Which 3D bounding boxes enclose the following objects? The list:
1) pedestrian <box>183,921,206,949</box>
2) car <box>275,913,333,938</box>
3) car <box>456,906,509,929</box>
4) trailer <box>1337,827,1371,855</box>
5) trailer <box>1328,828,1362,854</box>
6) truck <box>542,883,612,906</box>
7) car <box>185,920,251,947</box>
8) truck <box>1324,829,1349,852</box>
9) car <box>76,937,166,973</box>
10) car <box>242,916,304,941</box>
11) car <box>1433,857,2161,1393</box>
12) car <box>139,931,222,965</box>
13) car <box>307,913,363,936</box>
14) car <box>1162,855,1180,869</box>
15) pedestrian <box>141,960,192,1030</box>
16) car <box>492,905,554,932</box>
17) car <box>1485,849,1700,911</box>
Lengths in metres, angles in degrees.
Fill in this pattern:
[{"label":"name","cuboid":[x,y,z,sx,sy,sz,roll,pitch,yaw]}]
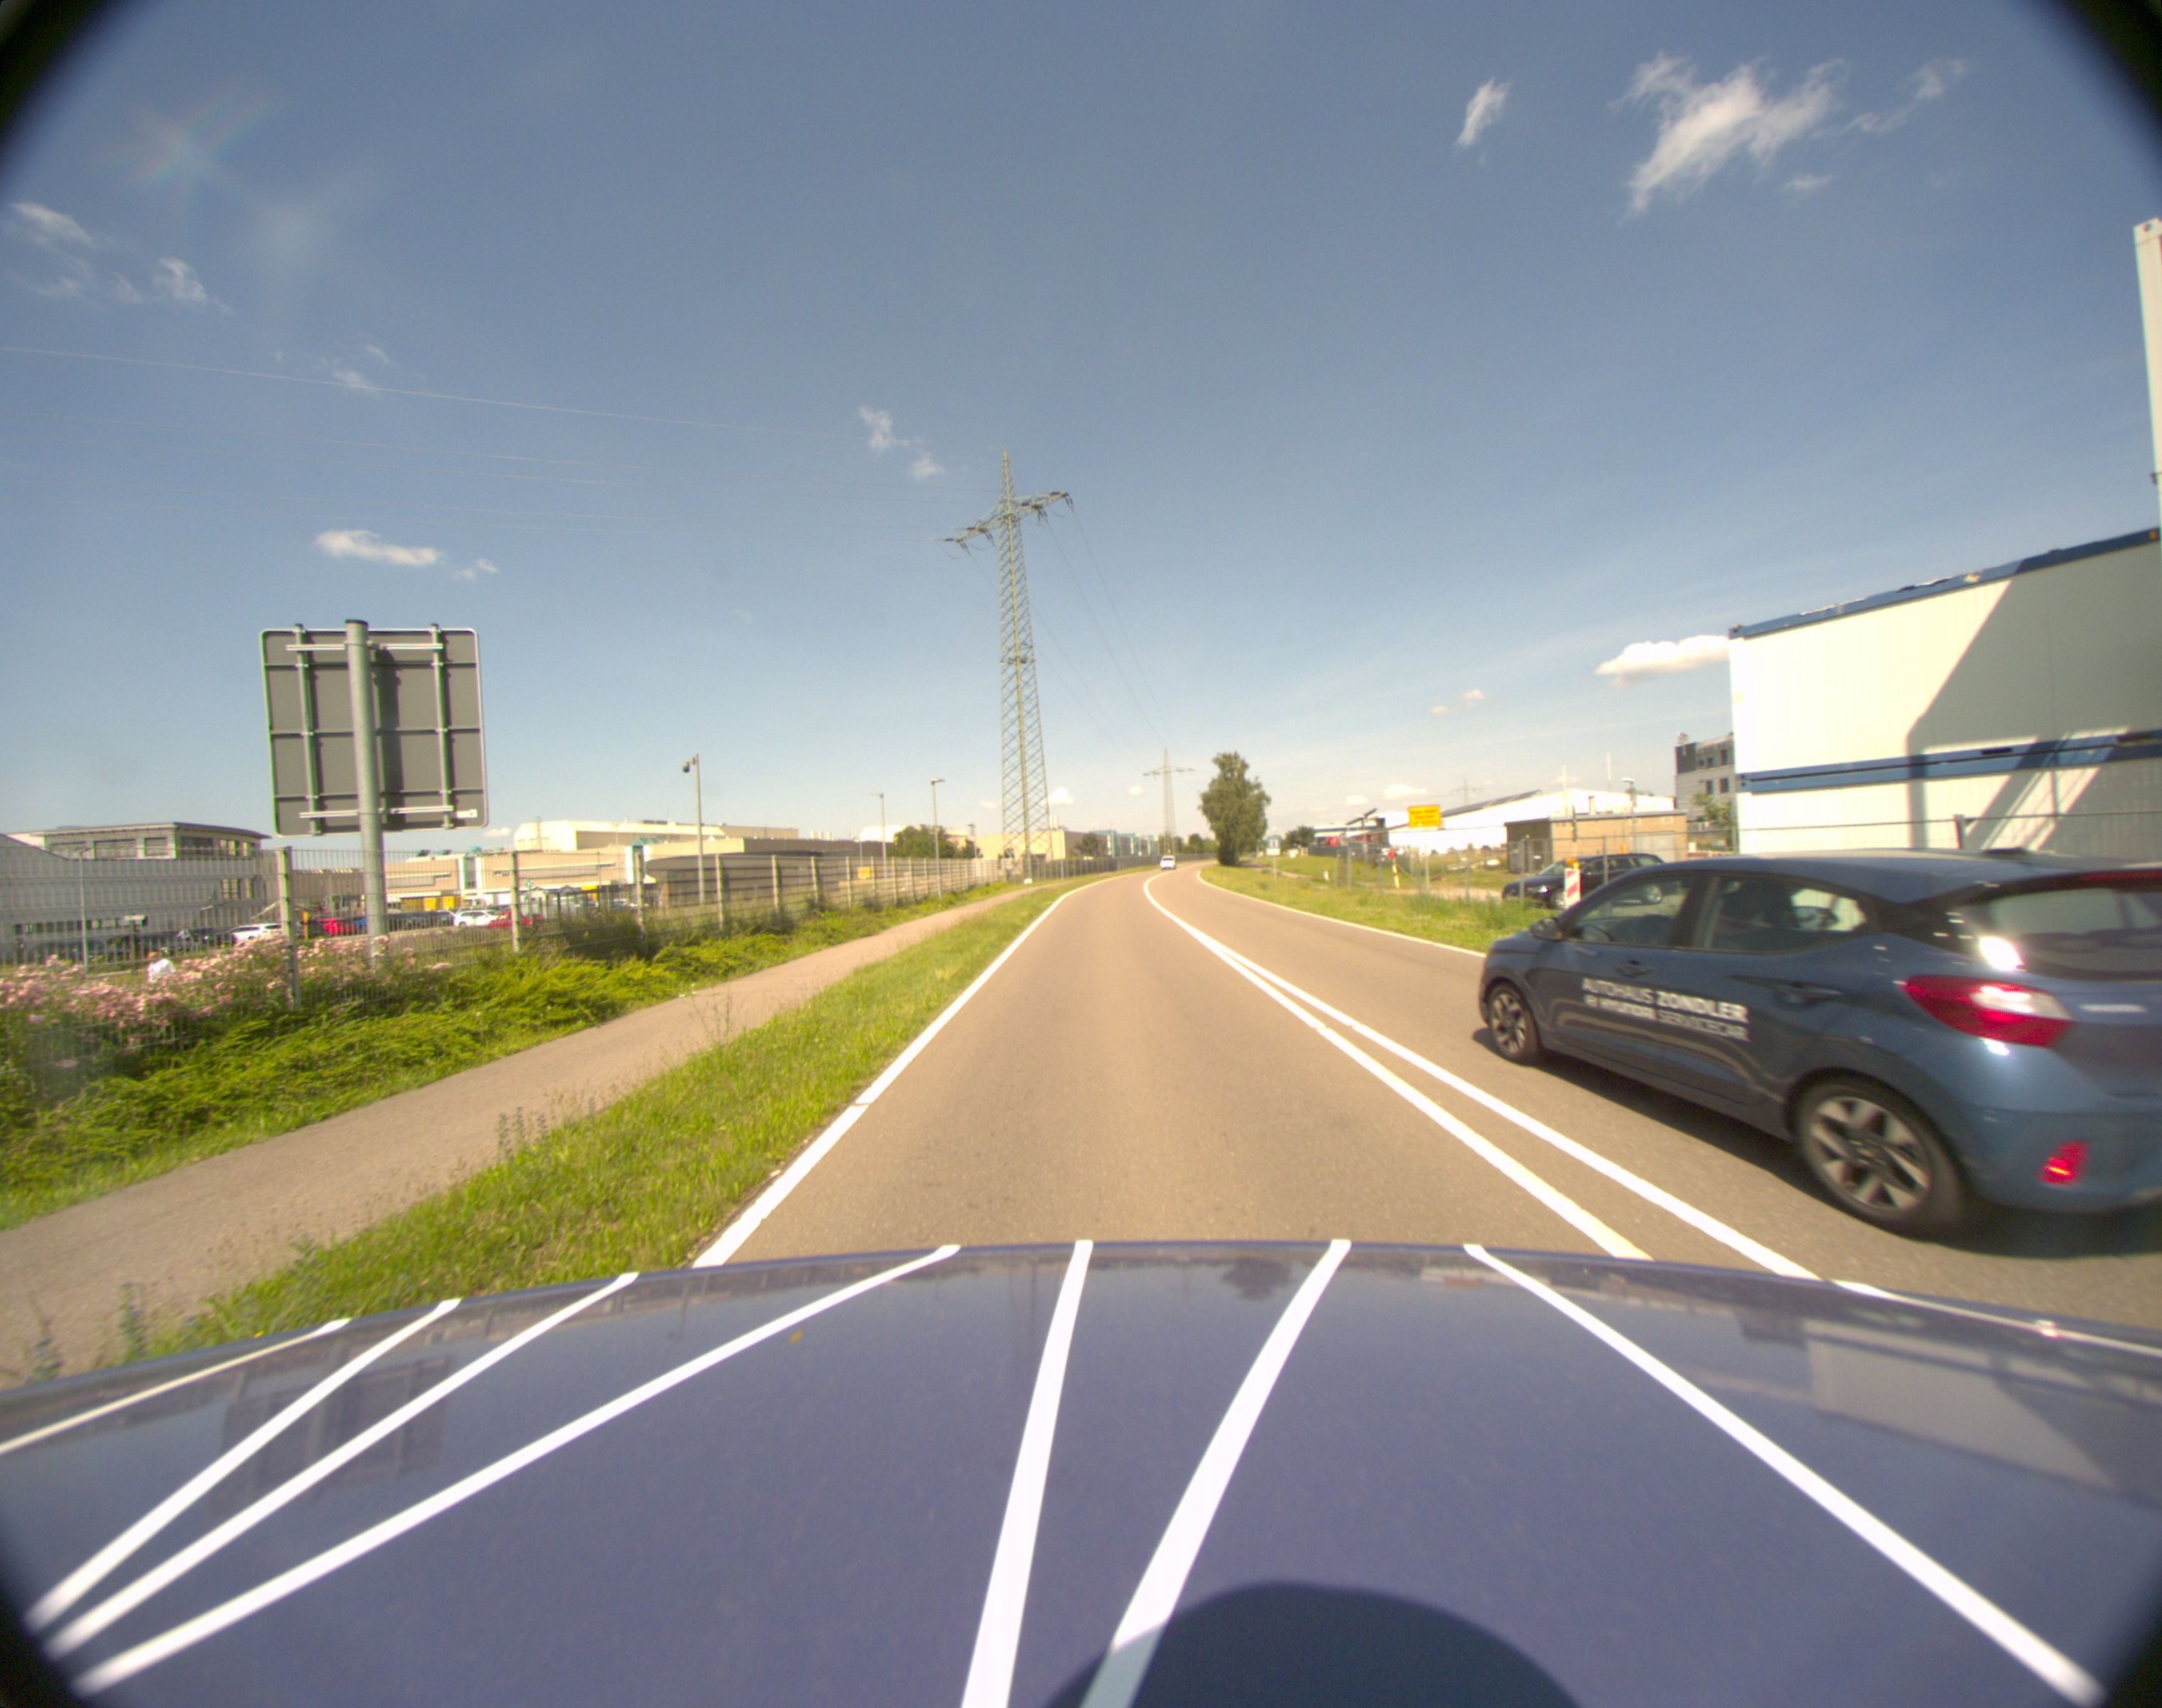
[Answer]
[{"label":"pedestrian","cuboid":[-57.929,5.317,49.649,0.612,1.735,0.687,-2,1,7]},{"label":"car","cuboid":[-58.877,5.411,57.597,3.053,1.525,1.472,-4,0,7]},{"label":"car","cuboid":[-47.904,5.096,60.830,3.053,1.525,1.472,-4,0,7]},{"label":"trailer","cuboid":[37.660,-1.815,105.162,3.404,3.624,8.666,-2,1,14]},{"label":"trailer","cuboid":[40.385,-2.003,116.626,3.295,3.624,14.938,-2,0,14]},{"label":"truck","cuboid":[-87.277,6.896,131.924,1.997,3.119,11.862,-4,0,12]},{"label":"car","cuboid":[-59.336,5.457,52.267,3.053,1.525,1.472,-4,0,7]},{"label":"truck","cuboid":[43.305,-2.206,129.041,3.106,3.624,10.603,-2,1,14]},{"label":"car","cuboid":[-49.717,5.200,39.372,3.053,1.525,1.472,-4,0,7]},{"label":"car","cuboid":[-58.555,5.403,55.055,3.053,1.525,1.472,-4,0,7]},{"label":"car","cuboid":[3.817,0.805,4.250,1.707,1.473,3.999,-2,1,-2]},{"label":"car","cuboid":[-49.574,5.173,41.853,3.053,1.525,1.472,-4,0,7]},{"label":"car","cuboid":[-59.017,5.551,60.113,3.053,1.525,1.472,-4,0,7]},{"label":"car","cuboid":[12.094,1.058,101.729,1.835,1.796,4.834,-2,0,13]},{"label":"pedestrian","cuboid":[-23.113,3.557,19.203,0.484,1.643,0.574,-4,0,5]},{"label":"car","cuboid":[-38.232,4.416,52.091,3.148,1.525,1.456,-4,0,7]},{"label":"car","cuboid":[14.524,0.715,21.717,4.984,1.408,1.999,-3,0,-8]}]
